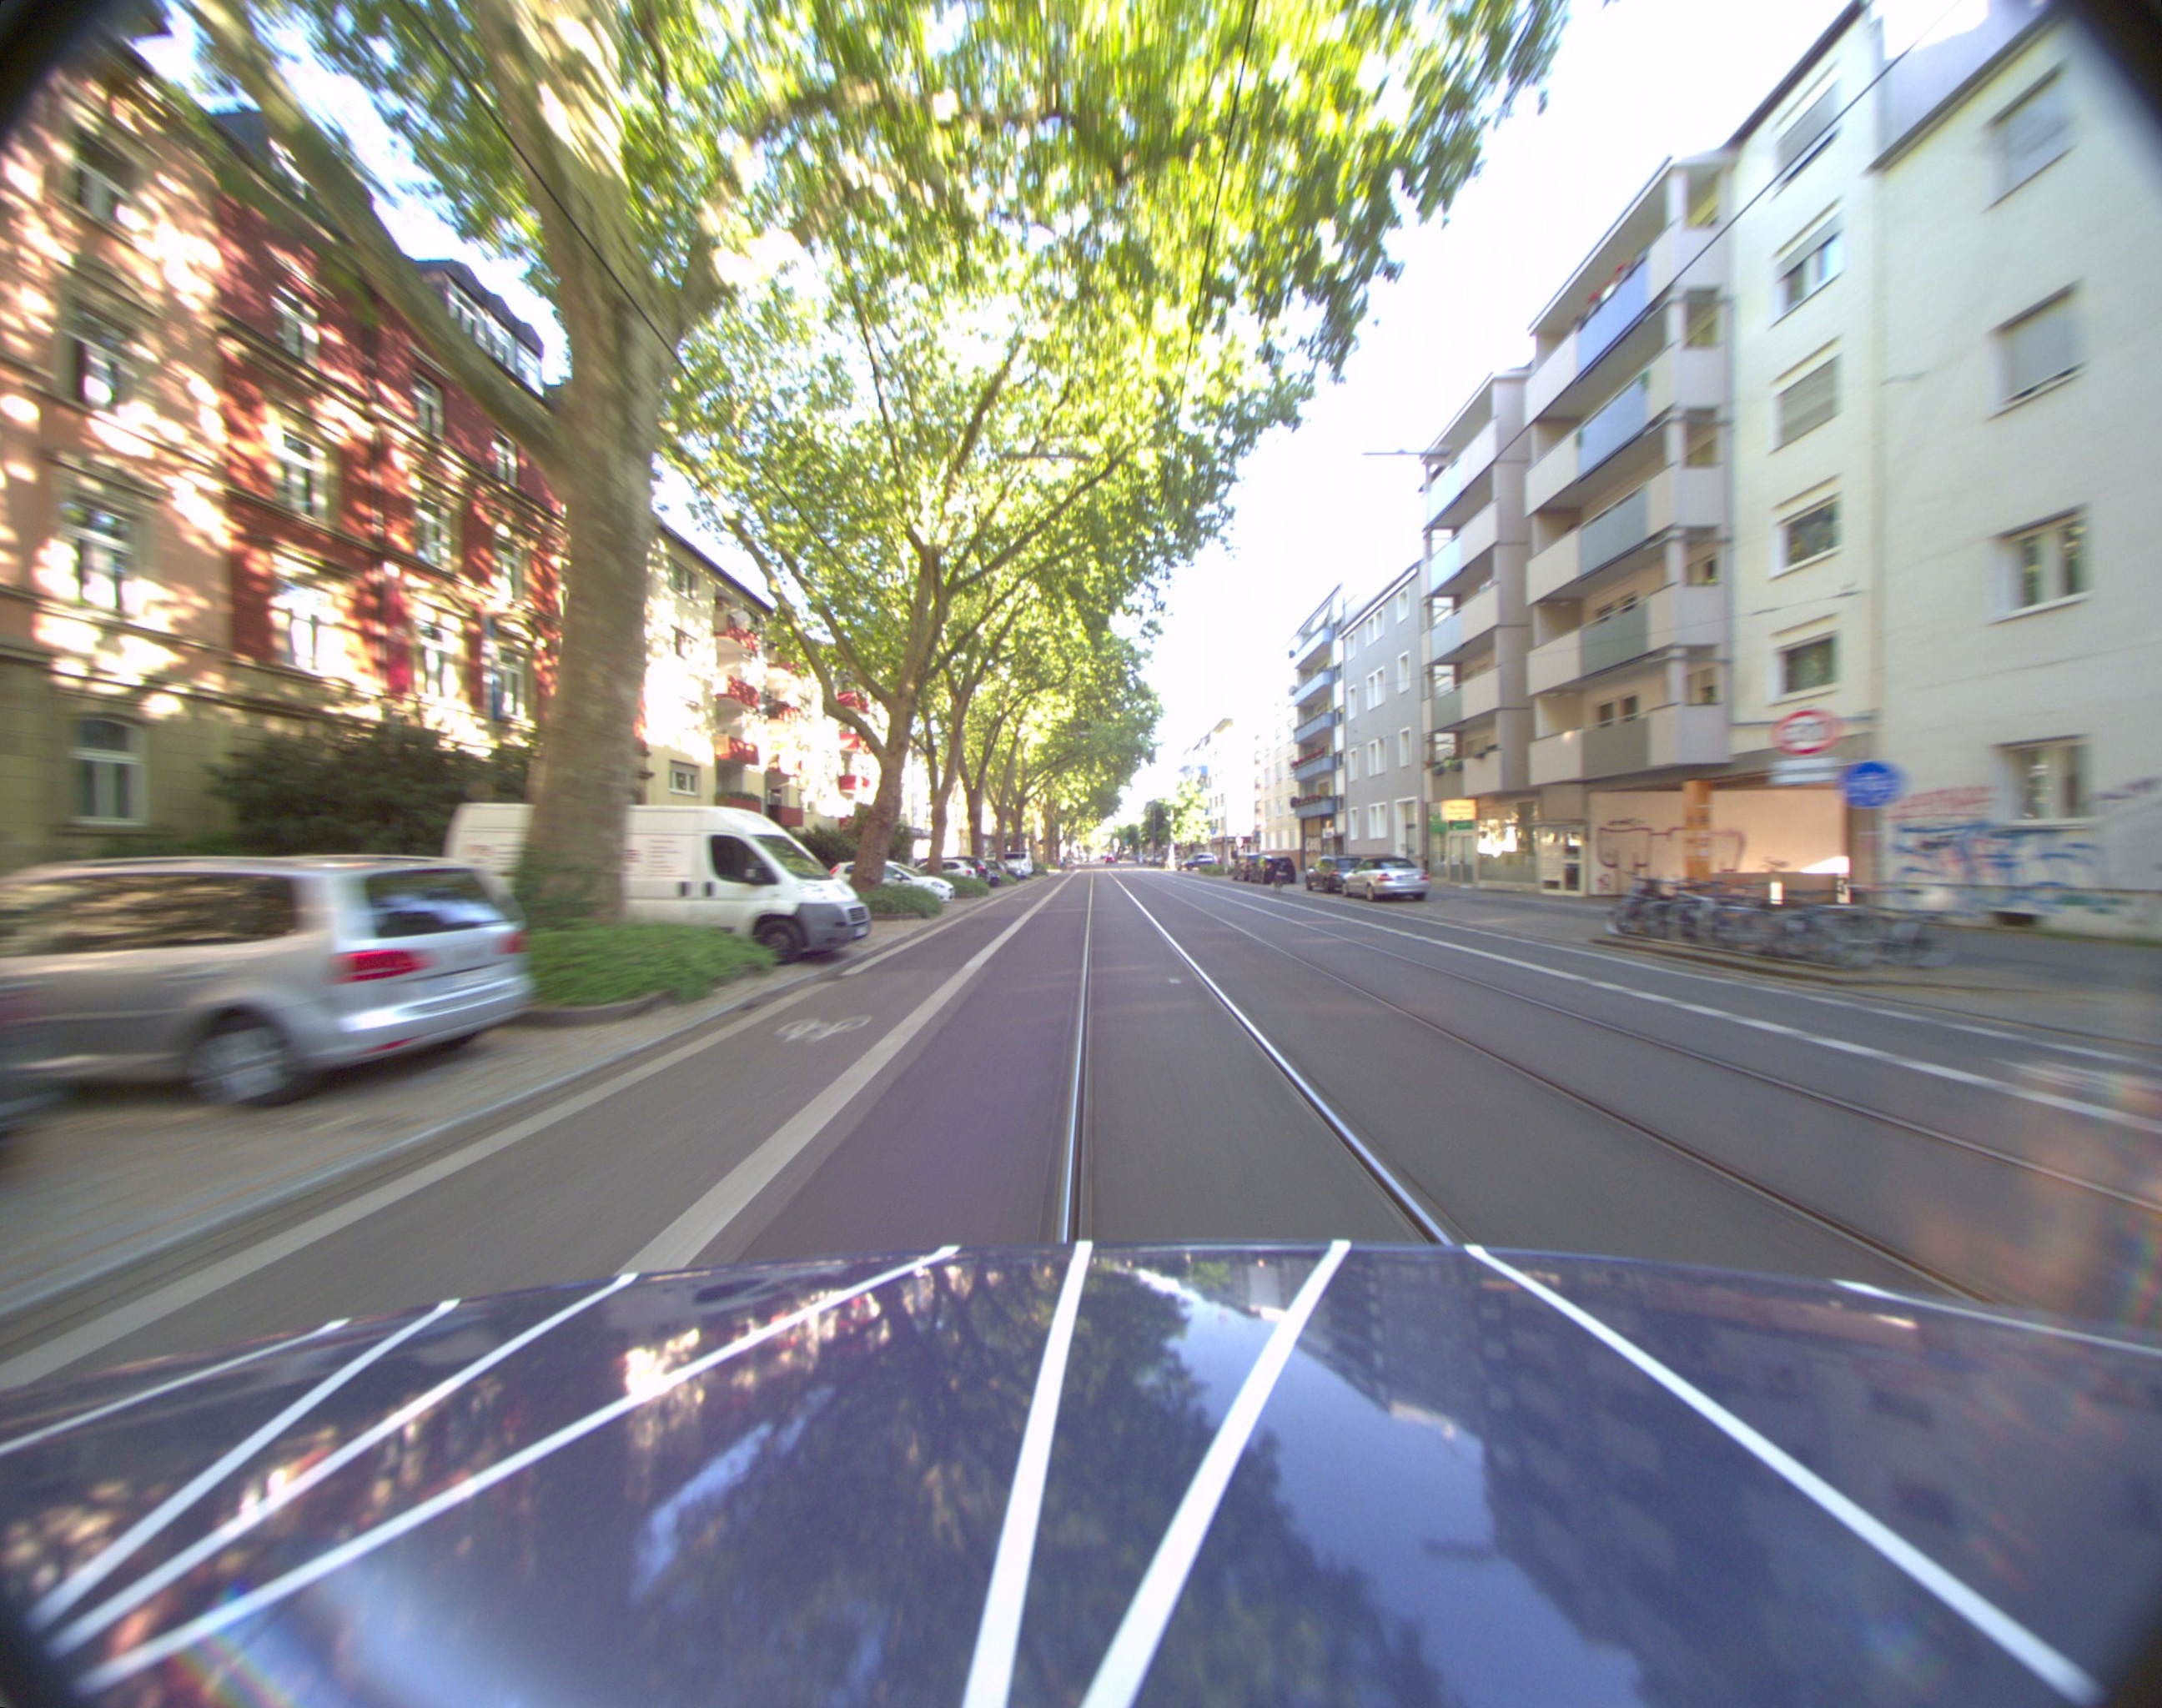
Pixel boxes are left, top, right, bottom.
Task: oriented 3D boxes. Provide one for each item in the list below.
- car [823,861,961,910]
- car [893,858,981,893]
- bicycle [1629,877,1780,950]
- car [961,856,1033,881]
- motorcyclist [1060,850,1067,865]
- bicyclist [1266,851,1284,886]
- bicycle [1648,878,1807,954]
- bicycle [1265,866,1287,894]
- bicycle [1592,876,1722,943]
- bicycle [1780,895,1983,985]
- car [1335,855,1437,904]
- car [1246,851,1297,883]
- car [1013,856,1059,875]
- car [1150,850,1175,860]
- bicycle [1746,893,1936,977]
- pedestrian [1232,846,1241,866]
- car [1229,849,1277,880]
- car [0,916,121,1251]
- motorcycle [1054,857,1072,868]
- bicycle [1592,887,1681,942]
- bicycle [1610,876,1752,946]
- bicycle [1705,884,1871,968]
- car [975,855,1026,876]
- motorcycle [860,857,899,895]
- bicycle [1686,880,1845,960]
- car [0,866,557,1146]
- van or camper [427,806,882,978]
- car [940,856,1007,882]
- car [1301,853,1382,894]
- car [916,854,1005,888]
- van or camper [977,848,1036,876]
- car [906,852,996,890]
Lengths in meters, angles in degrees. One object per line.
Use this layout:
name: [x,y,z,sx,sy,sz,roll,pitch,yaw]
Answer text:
car: [-5.968,0.979,24.290,3.963,1.471,1.688,0,1,2]
car: [-6.452,0.944,34.327,3.618,1.486,1.660,-1,1,0]
bicycle: [10.230,0.975,12.501,1.964,1.112,0.440,-2,1,8]
car: [-5.174,0.892,47.266,4.206,1.473,1.911,0,1,2]
motorcyclist: [-1.858,0.390,80.235,0.756,1.609,0.588,-1,1,-6]
bicyclist: [7.746,0.560,30.361,0.510,1.386,0.709,1,1,1]
bicycle: [10.187,0.979,12.015,1.972,1.112,0.425,-2,1,8]
bicycle: [7.793,1.028,30.381,0.418,1.012,1.947,1,1,2]
bicycle: [10.338,0.999,13.669,1.897,1.112,0.402,-2,1,8]
bicycle: [9.942,1.071,9.480,1.897,1.032,0.402,-2,1,8]
car: [10.196,0.785,25.783,1.693,1.482,4.728,-1,0,2]
car: [10.303,0.671,41.332,1.660,1.591,4.202,-3,0,0]
car: [-3.688,0.941,62.689,3.570,1.431,1.727,-1,1,4]
car: [13.319,0.205,123.923,3.953,1.515,1.587,-1,1,5]
bicycle: [10.009,1.066,10.046,1.897,1.032,0.402,-2,1,8]
pedestrian: [15.104,0.226,73.727,0.773,1.888,0.799,-2,1,9]
car: [10.395,0.587,46.320,1.784,1.728,4.489,-3,0,-1]
car: [-6.850,1.069,2.953,3.964,1.470,1.796,-1,1,1]
motorcycle: [-1.889,0.856,80.225,1.832,1.112,0.590,-1,1,-7]
bicycle: [10.420,1.118,14.258,1.624,0.912,0.401,-2,1,-15]
bicycle: [10.264,0.970,13.040,1.934,1.112,0.440,-2,1,8]
bicycle: [10.064,1.019,10.852,1.792,1.112,0.425,-2,1,8]
car: [-5.932,0.834,56.182,3.572,1.522,1.677,-1,1,-1]
motorcycle: [-8.349,0.896,31.621,0.842,1.470,2.818,-1,0,1]
bicycle: [10.168,0.984,11.329,1.822,1.112,0.425,-2,1,8]
car: [-6.478,0.960,5.565,3.965,1.646,1.795,-1,1,-2]
van or camper: [-6.502,0.553,12.150,6.047,2.476,2.107,0,1,1]
car: [-6.335,0.876,45.088,3.837,1.435,1.699,0,1,-4]
car: [10.382,0.722,30.629,1.798,1.482,4.240,-1,0,0]
car: [-6.175,0.873,39.314,4.302,1.643,1.743,-1,1,-1]
van or camper: [-5.750,0.587,58.837,4.388,2.097,1.838,0,1,-2]
car: [-6.227,0.817,36.797,4.003,1.734,1.805,-1,0,1]
